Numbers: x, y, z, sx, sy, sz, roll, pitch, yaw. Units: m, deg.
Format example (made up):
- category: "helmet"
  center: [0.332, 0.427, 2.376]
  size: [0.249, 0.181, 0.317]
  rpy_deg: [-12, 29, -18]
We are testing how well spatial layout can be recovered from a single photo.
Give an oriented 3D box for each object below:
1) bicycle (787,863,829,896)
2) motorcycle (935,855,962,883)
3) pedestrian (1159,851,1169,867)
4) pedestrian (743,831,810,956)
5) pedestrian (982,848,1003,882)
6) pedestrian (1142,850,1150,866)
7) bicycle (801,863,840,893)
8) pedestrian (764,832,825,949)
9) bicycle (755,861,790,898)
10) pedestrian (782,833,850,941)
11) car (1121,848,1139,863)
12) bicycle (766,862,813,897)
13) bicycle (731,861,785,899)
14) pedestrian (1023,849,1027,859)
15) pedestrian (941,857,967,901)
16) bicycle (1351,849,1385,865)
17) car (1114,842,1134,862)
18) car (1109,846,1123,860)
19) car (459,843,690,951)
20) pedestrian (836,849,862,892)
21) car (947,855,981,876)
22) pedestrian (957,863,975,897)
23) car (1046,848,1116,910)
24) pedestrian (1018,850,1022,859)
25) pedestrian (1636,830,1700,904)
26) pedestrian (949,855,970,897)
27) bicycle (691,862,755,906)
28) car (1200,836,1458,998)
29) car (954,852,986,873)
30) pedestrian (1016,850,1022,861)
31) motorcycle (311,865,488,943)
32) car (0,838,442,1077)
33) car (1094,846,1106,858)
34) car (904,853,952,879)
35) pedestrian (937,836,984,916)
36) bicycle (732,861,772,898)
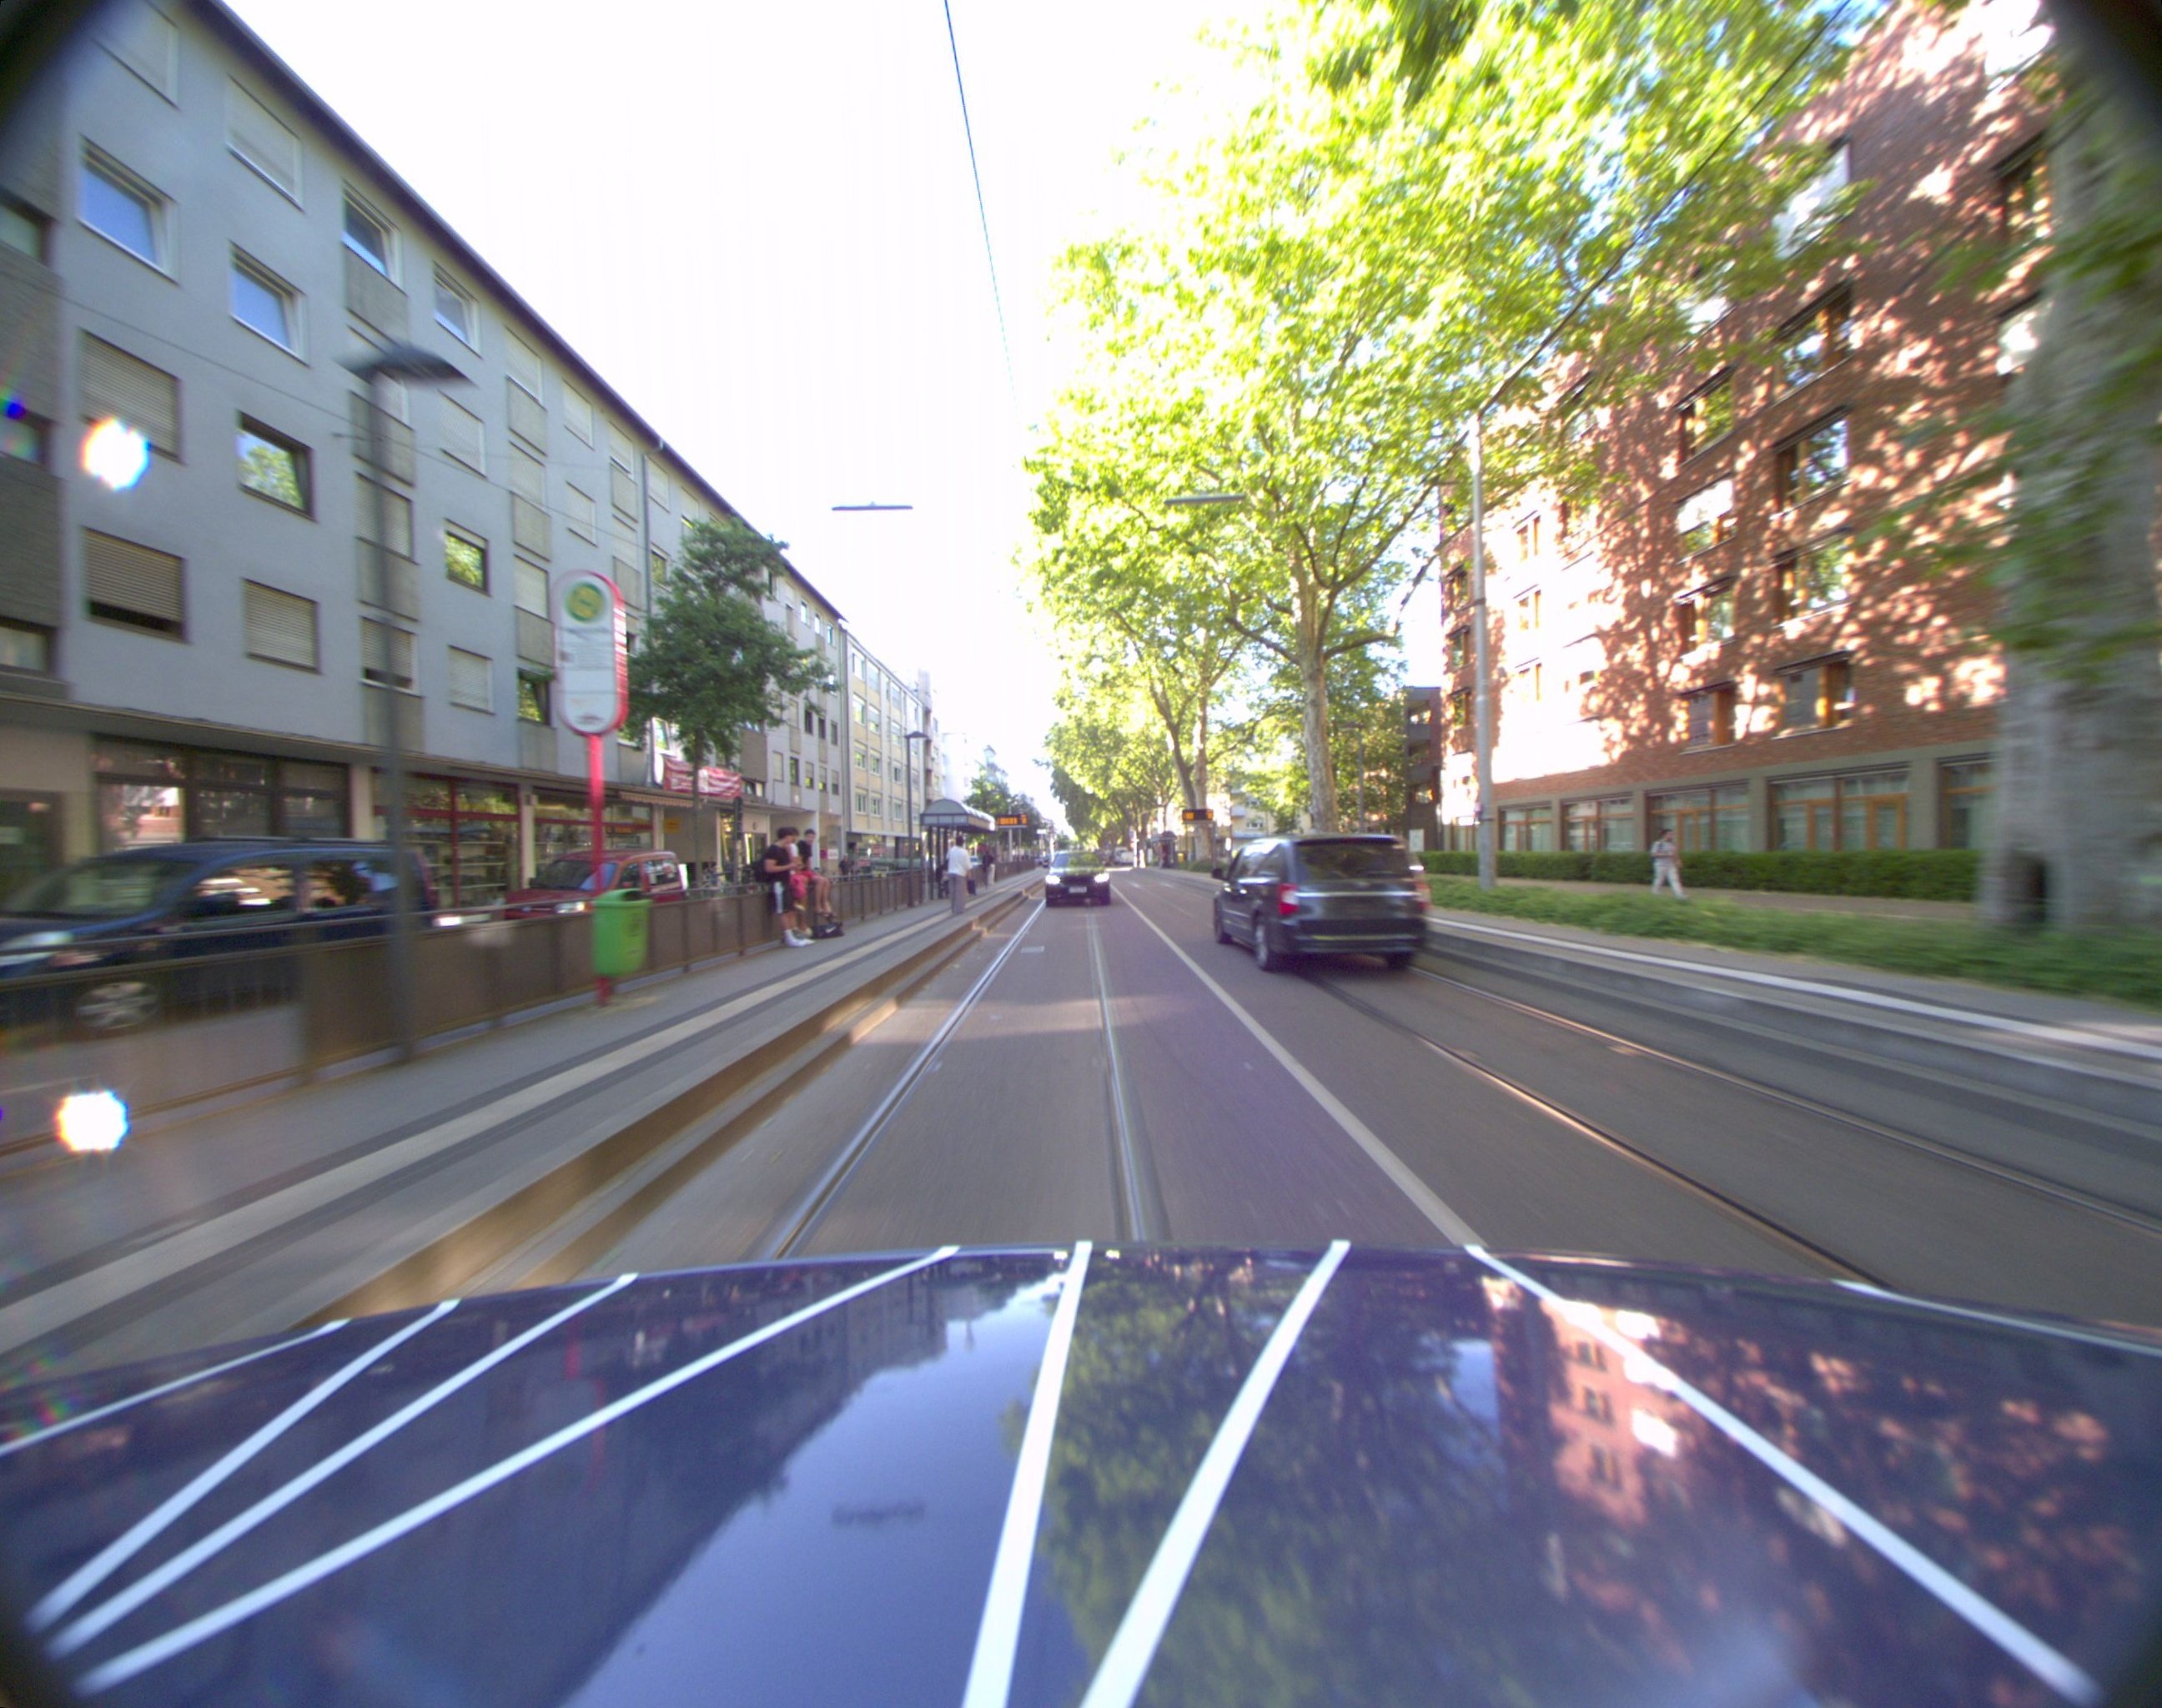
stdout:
- category: "bicycle"
  center: [-10.626, 0.974, 29.691]
  size: [0.773, 1.173, 2.782]
  rpy_deg: [4, -1, -4]
- category: "motorcycle"
  center: [-7.433, 0.827, 42.775]
  size: [1.054, 1.446, 2.208]
  rpy_deg: [-2, 1, 0]
- category: "pedestrian"
  center: [6.758, 0.405, 61.634]
  size: [0.708, 1.197, 0.473]
  rpy_deg: [-2, 1, 2]
- category: "pedestrian"
  center: [-4.421, 0.562, 11.070]
  size: [0.690, 1.745, 0.580]
  rpy_deg: [-2, 1, -6]
- category: "pedestrian"
  center: [-4.150, 0.513, 35.615]
  size: [0.648, 1.567, 0.855]
  rpy_deg: [-2, 1, 18]
- category: "pedestrian"
  center: [6.763, 0.435, 79.444]
  size: [0.708, 1.585, 0.561]
  rpy_deg: [-2, 1, 2]
- category: "bicycle"
  center: [-10.850, 0.979, 31.784]
  size: [0.773, 1.173, 2.782]
  rpy_deg: [4, -1, -4]
- category: "pedestrian"
  center: [-4.434, 0.554, 11.783]
  size: [0.493, 1.760, 0.704]
  rpy_deg: [-2, 1, 15]
- category: "bicycle"
  center: [-10.992, 0.891, 27.165]
  size: [0.774, 1.173, 2.779]
  rpy_deg: [4, -1, -16]
- category: "pedestrian"
  center: [-4.337, 0.529, 12.506]
  size: [0.847, 1.691, 0.692]
  rpy_deg: [-2, 1, -6]
- category: "car"
  center: [6.651, 0.218, 103.586]
  size: [2.041, 1.881, 5.072]
  rpy_deg: [-3, 1, 0]
- category: "bicycle"
  center: [-10.733, 0.928, 28.119]
  size: [0.773, 1.173, 2.782]
  rpy_deg: [4, -1, -4]
- category: "bicycle"
  center: [-10.973, 0.868, 25.955]
  size: [0.773, 1.173, 2.782]
  rpy_deg: [4, -1, -4]
- category: "pedestrian"
  center: [-10.336, -0.007, 140.383]
  size: [0.685, 1.645, 0.836]
  rpy_deg: [-2, 1, -1]
- category: "pedestrian"
  center: [-3.941, 0.753, 23.576]
  size: [0.721, 1.318, 0.493]
  rpy_deg: [-2, 1, -10]
- category: "bicycle"
  center: [20.004, 0.224, 52.995]
  size: [0.823, 1.088, 2.033]
  rpy_deg: [-3, 1, -37]
- category: "car"
  center: [6.406, -0.285, 113.759]
  size: [2.429, 2.833, 5.072]
  rpy_deg: [-3, 1, 0]
- category: "car"
  center: [6.071, -0.197, 131.742]
  size: [2.142, 2.275, 4.964]
  rpy_deg: [-3, 1, 0]
- category: "car"
  center: [-9.559, 0.705, 14.832]
  size: [1.693, 1.745, 4.173]
  rpy_deg: [-2, 1, -1]
- category: "pedestrian"
  center: [-10.181, 0.716, 33.342]
  size: [0.771, 1.794, 0.681]
  rpy_deg: [0, 3, 44]
- category: "car"
  center: [-9.120, 0.864, 59.471]
  size: [1.899, 1.477, 3.999]
  rpy_deg: [-2, 1, 0]
- category: "pedestrian"
  center: [-3.695, 0.833, 24.449]
  size: [0.522, 1.049, 0.425]
  rpy_deg: [-2, 1, -10]
- category: "car"
  center: [-0.011, 0.707, 24.672]
  size: [1.937, 1.719, 5.072]
  rpy_deg: [-3, 1, 0]
- category: "pedestrian"
  center: [-11.291, 0.030, 140.315]
  size: [0.685, 1.645, 0.836]
  rpy_deg: [-2, 1, -1]
- category: "pedestrian"
  center: [14.269, 0.308, 18.492]
  size: [0.765, 1.734, 0.972]
  rpy_deg: [-2, 1, 0]
- category: "pedestrian"
  center: [-3.859, 0.691, 24.077]
  size: [0.586, 1.298, 0.526]
  rpy_deg: [-3, 1, -10]
- category: "bicycle"
  center: [-10.946, 0.890, 23.339]
  size: [0.773, 1.173, 2.781]
  rpy_deg: [2, 0, -4]
- category: "car"
  center: [3.133, 0.663, 10.925]
  size: [1.998, 1.706, 5.142]
  rpy_deg: [-2, 1, 0]
- category: "car"
  center: [-9.486, 0.694, 65.185]
  size: [1.998, 1.572, 3.999]
  rpy_deg: [-2, 1, 0]
- category: "pedestrian"
  center: [-9.086, 0.214, 110.949]
  size: [0.752, 1.645, 0.970]
  rpy_deg: [-2, 1, -1]
- category: "motorcycle"
  center: [-12.895, 0.894, 14.553]
  size: [0.954, 1.309, 2.650]
  rpy_deg: [4, -1, -2]
- category: "car"
  center: [-9.667, 0.822, 8.130]
  size: [1.998, 1.885, 4.194]
  rpy_deg: [2, 0, 2]
- category: "car"
  center: [3.855, -0.395, 156.738]
  size: [2.142, 2.275, 4.964]
  rpy_deg: [-3, 1, 0]
- category: "car"
  center: [-9.774, 0.723, 48.923]
  size: [1.958, 1.474, 4.660]
  rpy_deg: [-3, 1, 2]
- category: "pedestrian"
  center: [-2.646, 0.481, 16.743]
  size: [0.836, 1.703, 0.640]
  rpy_deg: [-2, 1, 1]
- category: "bicycle"
  center: [-11.492, 0.858, 26.604]
  size: [0.774, 1.173, 2.779]
  rpy_deg: [4, -1, -14]
